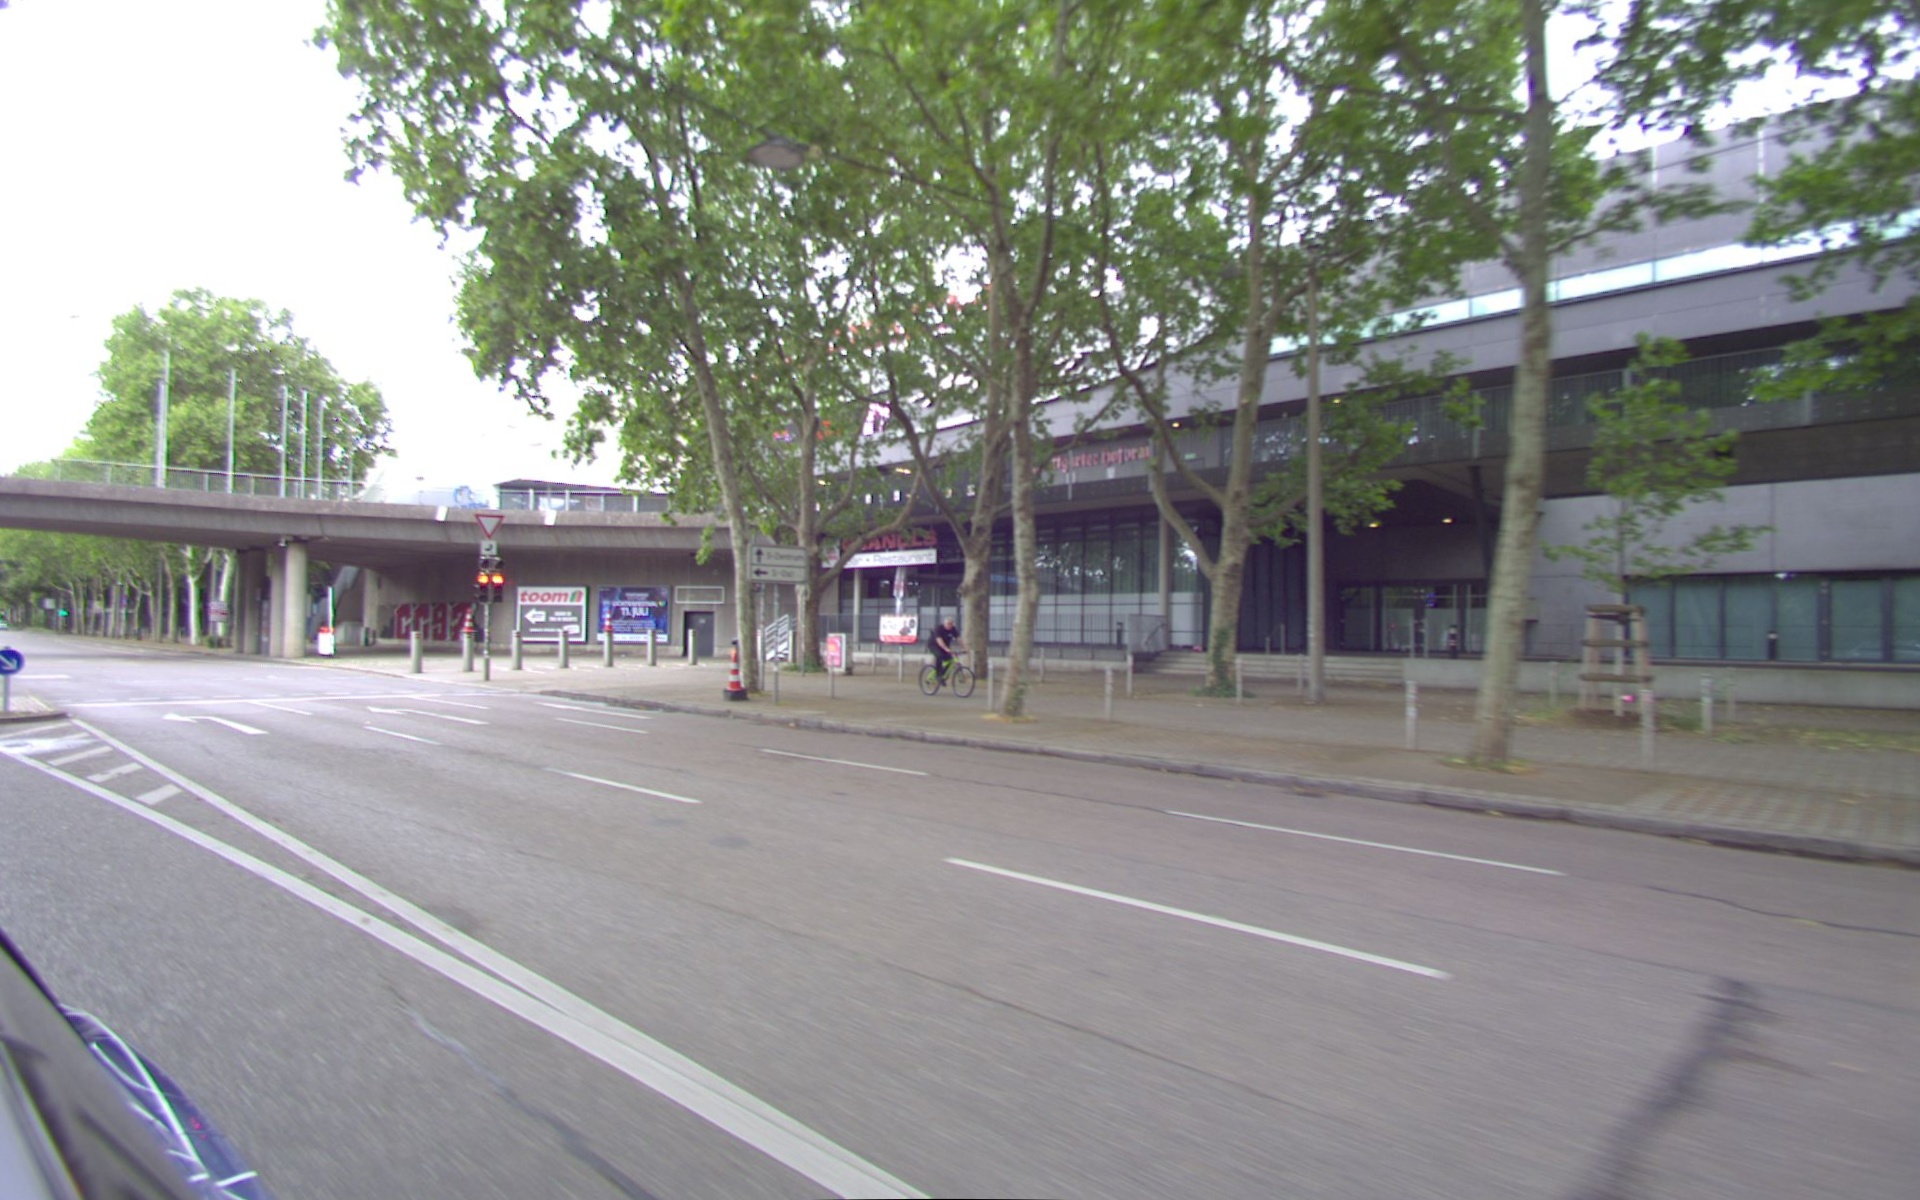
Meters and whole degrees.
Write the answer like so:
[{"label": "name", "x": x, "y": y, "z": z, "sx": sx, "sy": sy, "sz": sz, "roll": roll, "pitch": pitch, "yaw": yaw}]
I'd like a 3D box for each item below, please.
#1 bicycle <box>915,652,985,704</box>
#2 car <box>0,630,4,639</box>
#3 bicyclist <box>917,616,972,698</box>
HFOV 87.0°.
[{"label": "bicycle", "x": -0.231, "y": 1.671, "z": 21.886, "sx": 1.537, "sy": 1.020, "sz": 0.510, "roll": 1, "pitch": -3, "yaw": 42}, {"label": "car", "x": -144.744, "y": 5.110, "z": 152.034, "sx": 1.592, "sy": 1.323, "sz": 3.398, "roll": 4, "pitch": -3, "yaw": -44}, {"label": "bicyclist", "x": -0.332, "y": 1.238, "z": 22.015, "sx": 0.854, "sy": 1.710, "sz": 0.756, "roll": 1, "pitch": -3, "yaw": 42}]
